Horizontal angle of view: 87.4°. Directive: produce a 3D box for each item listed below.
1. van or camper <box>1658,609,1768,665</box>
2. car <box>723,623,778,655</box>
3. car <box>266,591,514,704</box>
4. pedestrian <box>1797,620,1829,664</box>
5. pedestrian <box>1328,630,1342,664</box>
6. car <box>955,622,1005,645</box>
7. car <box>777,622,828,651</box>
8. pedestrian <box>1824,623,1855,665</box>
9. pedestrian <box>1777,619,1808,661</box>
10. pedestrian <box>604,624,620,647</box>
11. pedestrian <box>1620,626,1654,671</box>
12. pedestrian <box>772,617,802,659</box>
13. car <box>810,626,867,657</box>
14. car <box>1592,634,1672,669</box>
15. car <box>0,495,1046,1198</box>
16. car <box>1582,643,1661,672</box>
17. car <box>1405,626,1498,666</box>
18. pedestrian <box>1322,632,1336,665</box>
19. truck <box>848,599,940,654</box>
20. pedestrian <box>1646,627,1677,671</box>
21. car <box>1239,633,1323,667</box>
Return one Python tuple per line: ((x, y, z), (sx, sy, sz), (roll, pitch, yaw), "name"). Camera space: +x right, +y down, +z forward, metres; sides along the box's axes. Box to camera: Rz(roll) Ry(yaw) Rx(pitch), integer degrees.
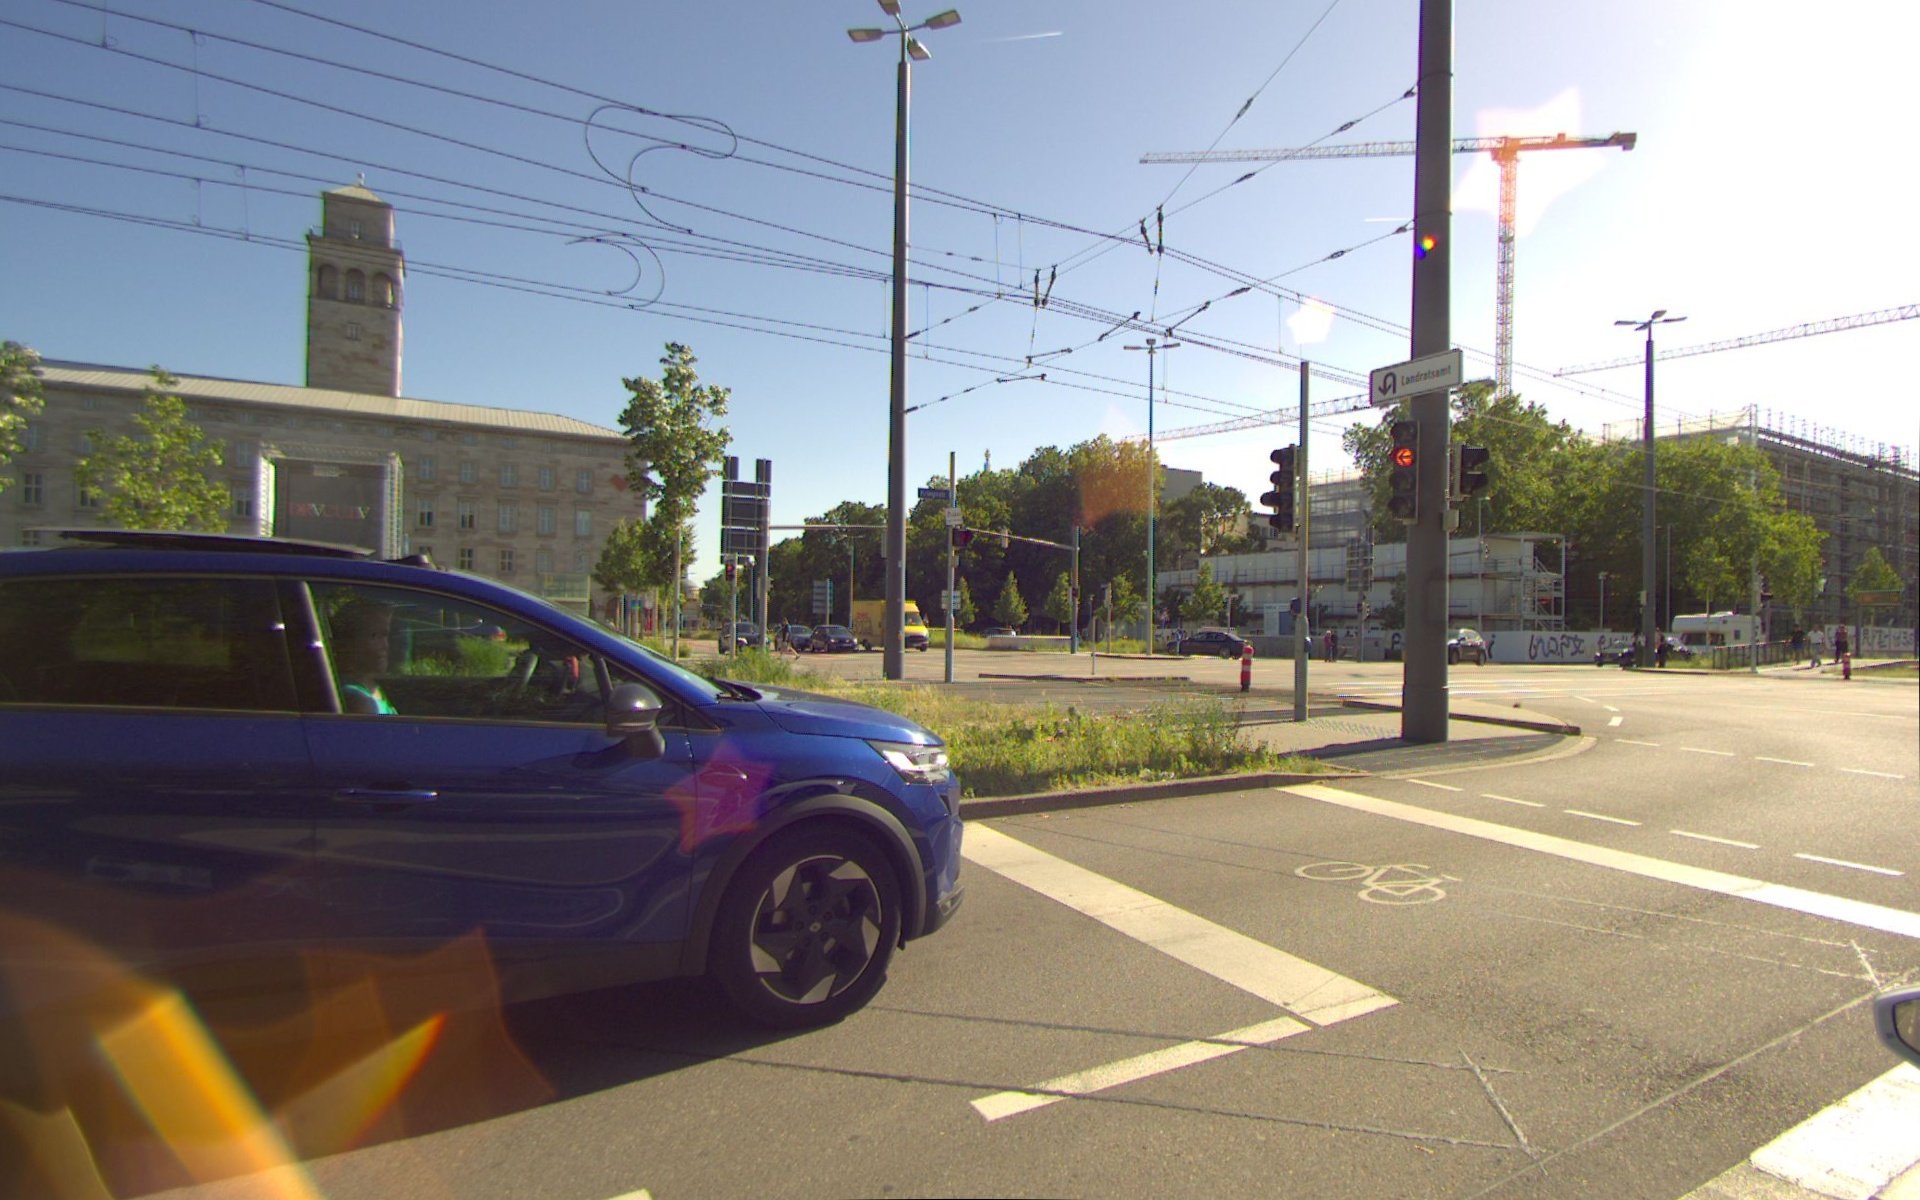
((42.327, 2.090, 56.416), (7.262, 2.976, 2.590), (2, -2, -33), "van or camper")
((-10.806, 1.981, 51.548), (1.878, 1.559, 3.975), (2, -1, -25), "car")
((-10.890, 0.888, 19.398), (3.954, 1.981, 1.861), (2, -1, -31), "car")
((36.225, 1.791, 42.657), (0.966, 1.847, 0.795), (2, -1, -33), "pedestrian")
((20.405, 2.537, 54.695), (0.687, 1.847, 0.595), (1, -1, 22), "pedestrian")
((1.437, 2.418, 73.137), (1.974, 1.622, 3.973), (2, -2, -27), "car")
((-9.158, 2.078, 58.062), (1.878, 1.559, 3.975), (2, -1, -25), "car")
((39.218, 1.963, 44.793), (0.966, 1.847, 0.795), (2, -1, -33), "pedestrian")
((37.028, 1.762, 44.680), (0.966, 1.847, 0.795), (2, -1, -33), "pedestrian")
((-26.352, 2.682, 76.133), (0.936, 1.708, 1.186), (0, 0, -30), "pedestrian")
((28.261, 1.997, 41.942), (0.864, 1.847, 0.802), (1, -1, 2), "pedestrian")
((-7.377, 1.607, 42.818), (0.936, 1.708, 1.186), (0, 0, -30), "pedestrian")
((-6.509, 2.181, 53.482), (1.878, 1.559, 3.975), (2, -1, -25), "car")
((35.105, 2.689, 52.478), (4.320, 1.730, 1.935), (2, -1, -33), "car")
((-1.862, 0.577, 3.533), (4.043, 1.609, 1.760), (2, 0, -32), "car")
((38.959, 3.375, 59.149), (4.774, 1.582, 1.984), (2, -1, -31), "car")
((22.702, 2.102, 46.326), (4.516, 1.730, 1.980), (2, -1, -36), "car")
((20.904, 2.729, 56.870), (0.687, 1.847, 0.595), (1, -1, 22), "pedestrian")
((-3.885, 1.467, 56.995), (2.430, 2.829, 7.984), (2, -1, -25), "truck")
((29.695, 2.065, 42.533), (0.966, 1.847, 0.795), (2, -1, -33), "pedestrian")
((16.500, 2.536, 51.557), (3.923, 1.622, 1.999), (0, -1, 23), "car")
